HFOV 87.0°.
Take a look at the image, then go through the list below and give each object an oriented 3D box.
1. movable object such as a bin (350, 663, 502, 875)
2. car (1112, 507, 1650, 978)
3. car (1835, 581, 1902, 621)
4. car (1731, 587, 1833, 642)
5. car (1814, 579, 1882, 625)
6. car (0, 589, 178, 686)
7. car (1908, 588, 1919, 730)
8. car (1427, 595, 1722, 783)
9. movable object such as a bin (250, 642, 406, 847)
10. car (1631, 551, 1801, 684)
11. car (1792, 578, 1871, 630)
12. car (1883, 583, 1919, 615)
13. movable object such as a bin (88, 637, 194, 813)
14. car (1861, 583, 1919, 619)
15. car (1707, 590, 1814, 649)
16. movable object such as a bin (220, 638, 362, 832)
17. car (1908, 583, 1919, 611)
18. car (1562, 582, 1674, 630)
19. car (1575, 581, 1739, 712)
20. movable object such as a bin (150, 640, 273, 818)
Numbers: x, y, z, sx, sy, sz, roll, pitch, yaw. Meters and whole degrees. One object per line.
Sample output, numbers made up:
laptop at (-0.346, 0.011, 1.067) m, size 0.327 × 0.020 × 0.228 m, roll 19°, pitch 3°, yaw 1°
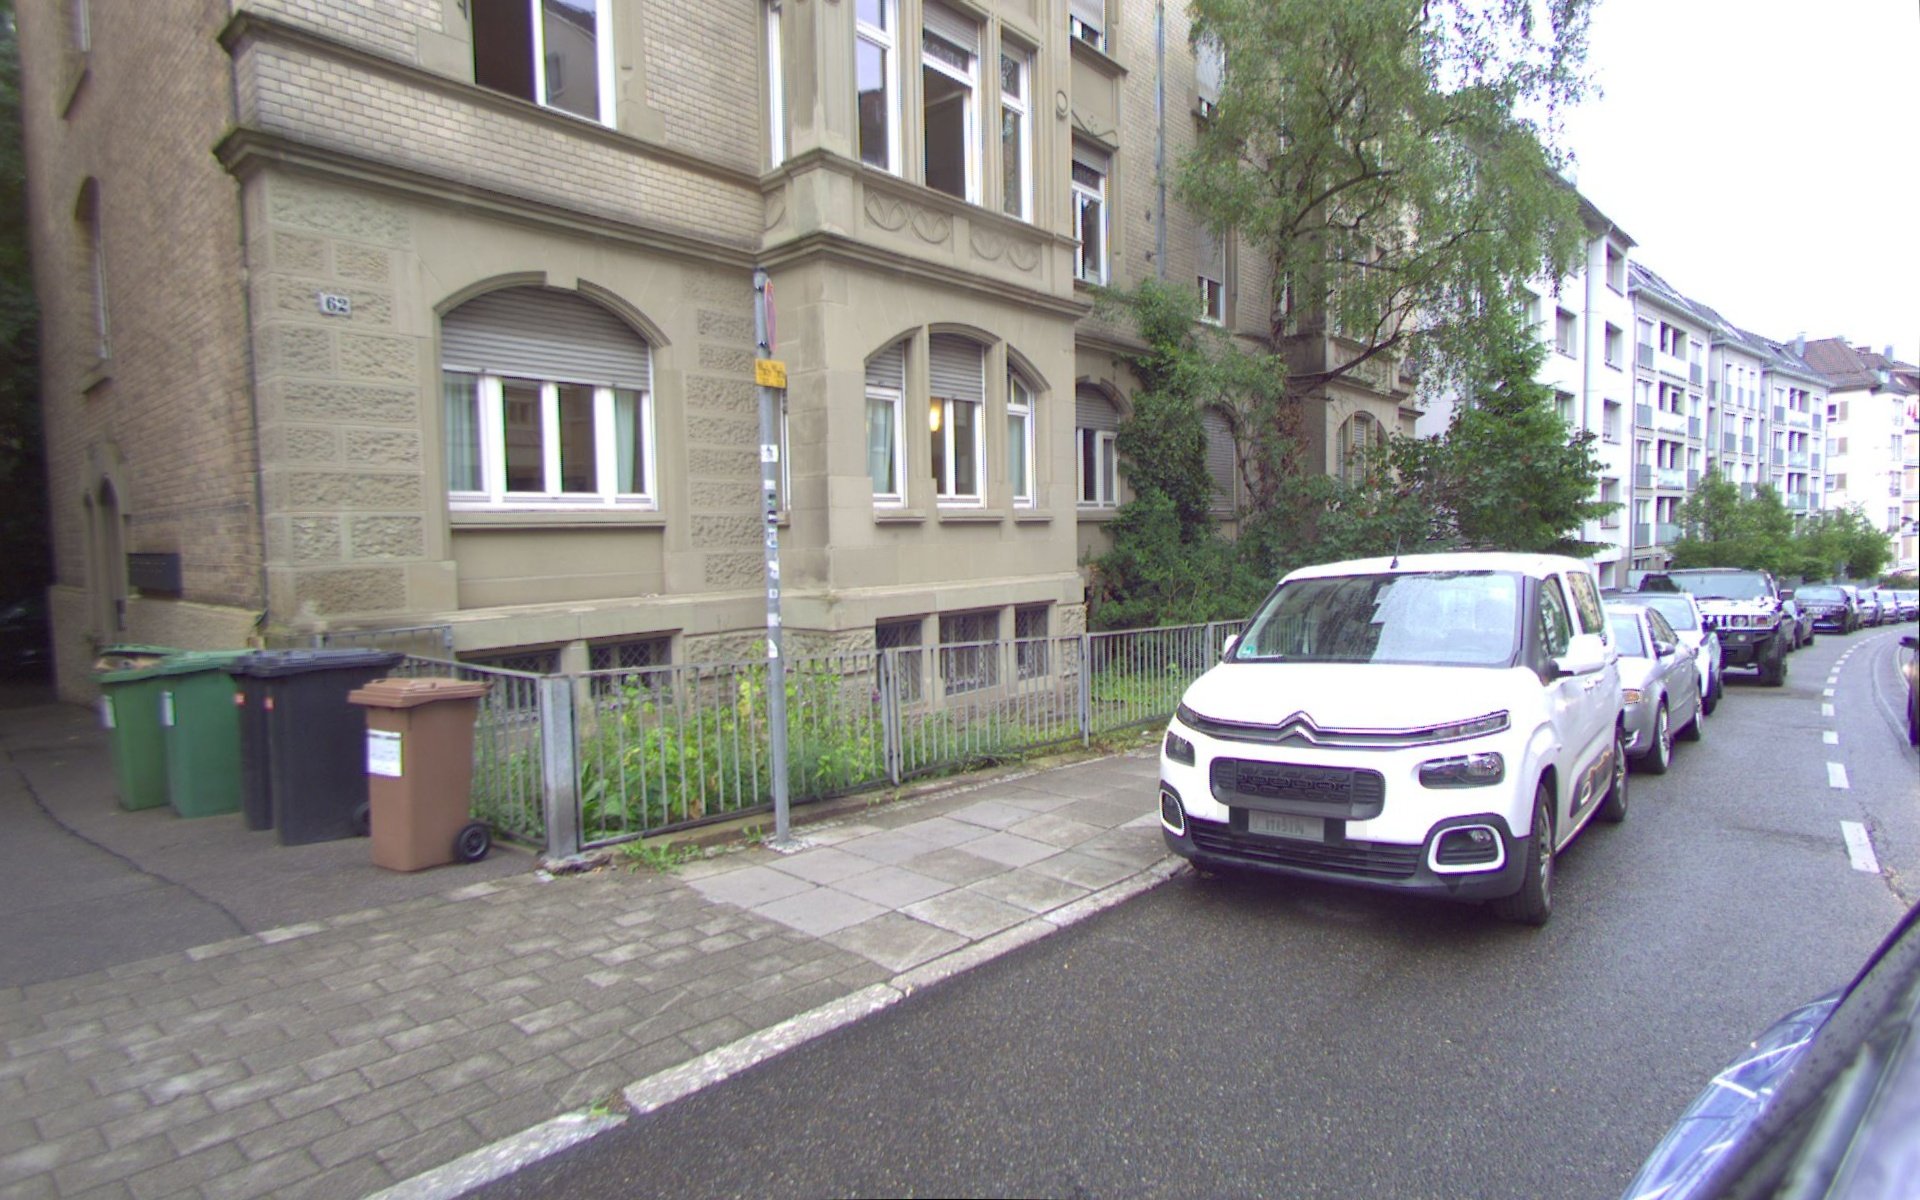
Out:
movable object such as a bin at (-2.677, 0.813, 5.081) m, size 0.425 × 0.931 × 0.529 m, roll 3°, pitch 2°, yaw 38°
car at (2.842, 0.521, 6.128) m, size 1.795 × 1.787 × 4.399 m, roll -1°, pitch 0°, yaw 40°
car at (41.384, 0.015, 46.070) m, size 4.608 × 1.676 × 1.834 m, roll -1°, pitch 2°, yaw -43°
car at (23.663, 0.353, 29.083) m, size 4.535 × 1.455 × 1.795 m, roll -1°, pitch 1°, yaw -45°
car at (37.056, 0.039, 42.179) m, size 4.398 × 1.817 × 1.780 m, roll -1°, pitch 2°, yaw -44°
car at (-17.197, 0.665, 18.811) m, size 3.933 × 1.529 × 1.796 m, roll 7°, pitch -1°, yaw -45°
car at (11.082, 0.624, 10.447) m, size 1.734 × 1.472 × 3.940 m, roll 2°, pitch 2°, yaw 41°
car at (6.255, 0.683, 10.044) m, size 1.747 × 1.418 × 4.411 m, roll -1°, pitch 0°, yaw 41°
movable object such as a bin at (-3.600, 0.781, 5.767) m, size 0.653 × 1.043 × 0.528 m, roll -1°, pitch -1°, yaw -43°
car at (13.801, 0.246, 18.333) m, size 2.126 × 2.039 × 5.272 m, roll -1°, pitch 0°, yaw 40°
car at (32.988, 0.095, 38.251) m, size 1.943 × 1.817 × 4.743 m, roll 1°, pitch 2°, yaw 45°
car at (49.802, -0.075, 53.093) m, size 1.975 × 1.604 × 4.495 m, roll 2°, pitch 2°, yaw 43°
movable object such as a bin at (-5.605, 0.825, 6.923) m, size 0.518 × 1.116 × 0.471 m, roll -3°, pitch -1°, yaw 42°
car at (45.564, 0.001, 49.530) m, size 4.587 × 1.648 × 1.834 m, roll -1°, pitch 2°, yaw -44°
car at (20.406, 0.437, 25.745) m, size 3.819 × 1.355 × 1.679 m, roll -1°, pitch 1°, yaw -44°
movable object such as a bin at (-4.077, 0.785, 6.171) m, size 0.498 × 1.075 × 0.600 m, roll -3°, pitch -1°, yaw 41°
car at (57.084, -0.186, 59.149) m, size 4.704 × 1.534 × 1.862 m, roll -1°, pitch 2°, yaw -40°
car at (20.922, 0.173, 32.132) m, size 4.079 × 1.444 × 1.816 m, roll 0°, pitch 0°, yaw -39°
car at (9.741, 0.545, 14.047) m, size 1.557 × 1.565 × 3.533 m, roll -1°, pitch 0°, yaw 40°
movable object such as a bin at (-4.928, 0.818, 6.665) m, size 0.495 × 1.075 × 0.547 m, roll -3°, pitch -1°, yaw 41°
